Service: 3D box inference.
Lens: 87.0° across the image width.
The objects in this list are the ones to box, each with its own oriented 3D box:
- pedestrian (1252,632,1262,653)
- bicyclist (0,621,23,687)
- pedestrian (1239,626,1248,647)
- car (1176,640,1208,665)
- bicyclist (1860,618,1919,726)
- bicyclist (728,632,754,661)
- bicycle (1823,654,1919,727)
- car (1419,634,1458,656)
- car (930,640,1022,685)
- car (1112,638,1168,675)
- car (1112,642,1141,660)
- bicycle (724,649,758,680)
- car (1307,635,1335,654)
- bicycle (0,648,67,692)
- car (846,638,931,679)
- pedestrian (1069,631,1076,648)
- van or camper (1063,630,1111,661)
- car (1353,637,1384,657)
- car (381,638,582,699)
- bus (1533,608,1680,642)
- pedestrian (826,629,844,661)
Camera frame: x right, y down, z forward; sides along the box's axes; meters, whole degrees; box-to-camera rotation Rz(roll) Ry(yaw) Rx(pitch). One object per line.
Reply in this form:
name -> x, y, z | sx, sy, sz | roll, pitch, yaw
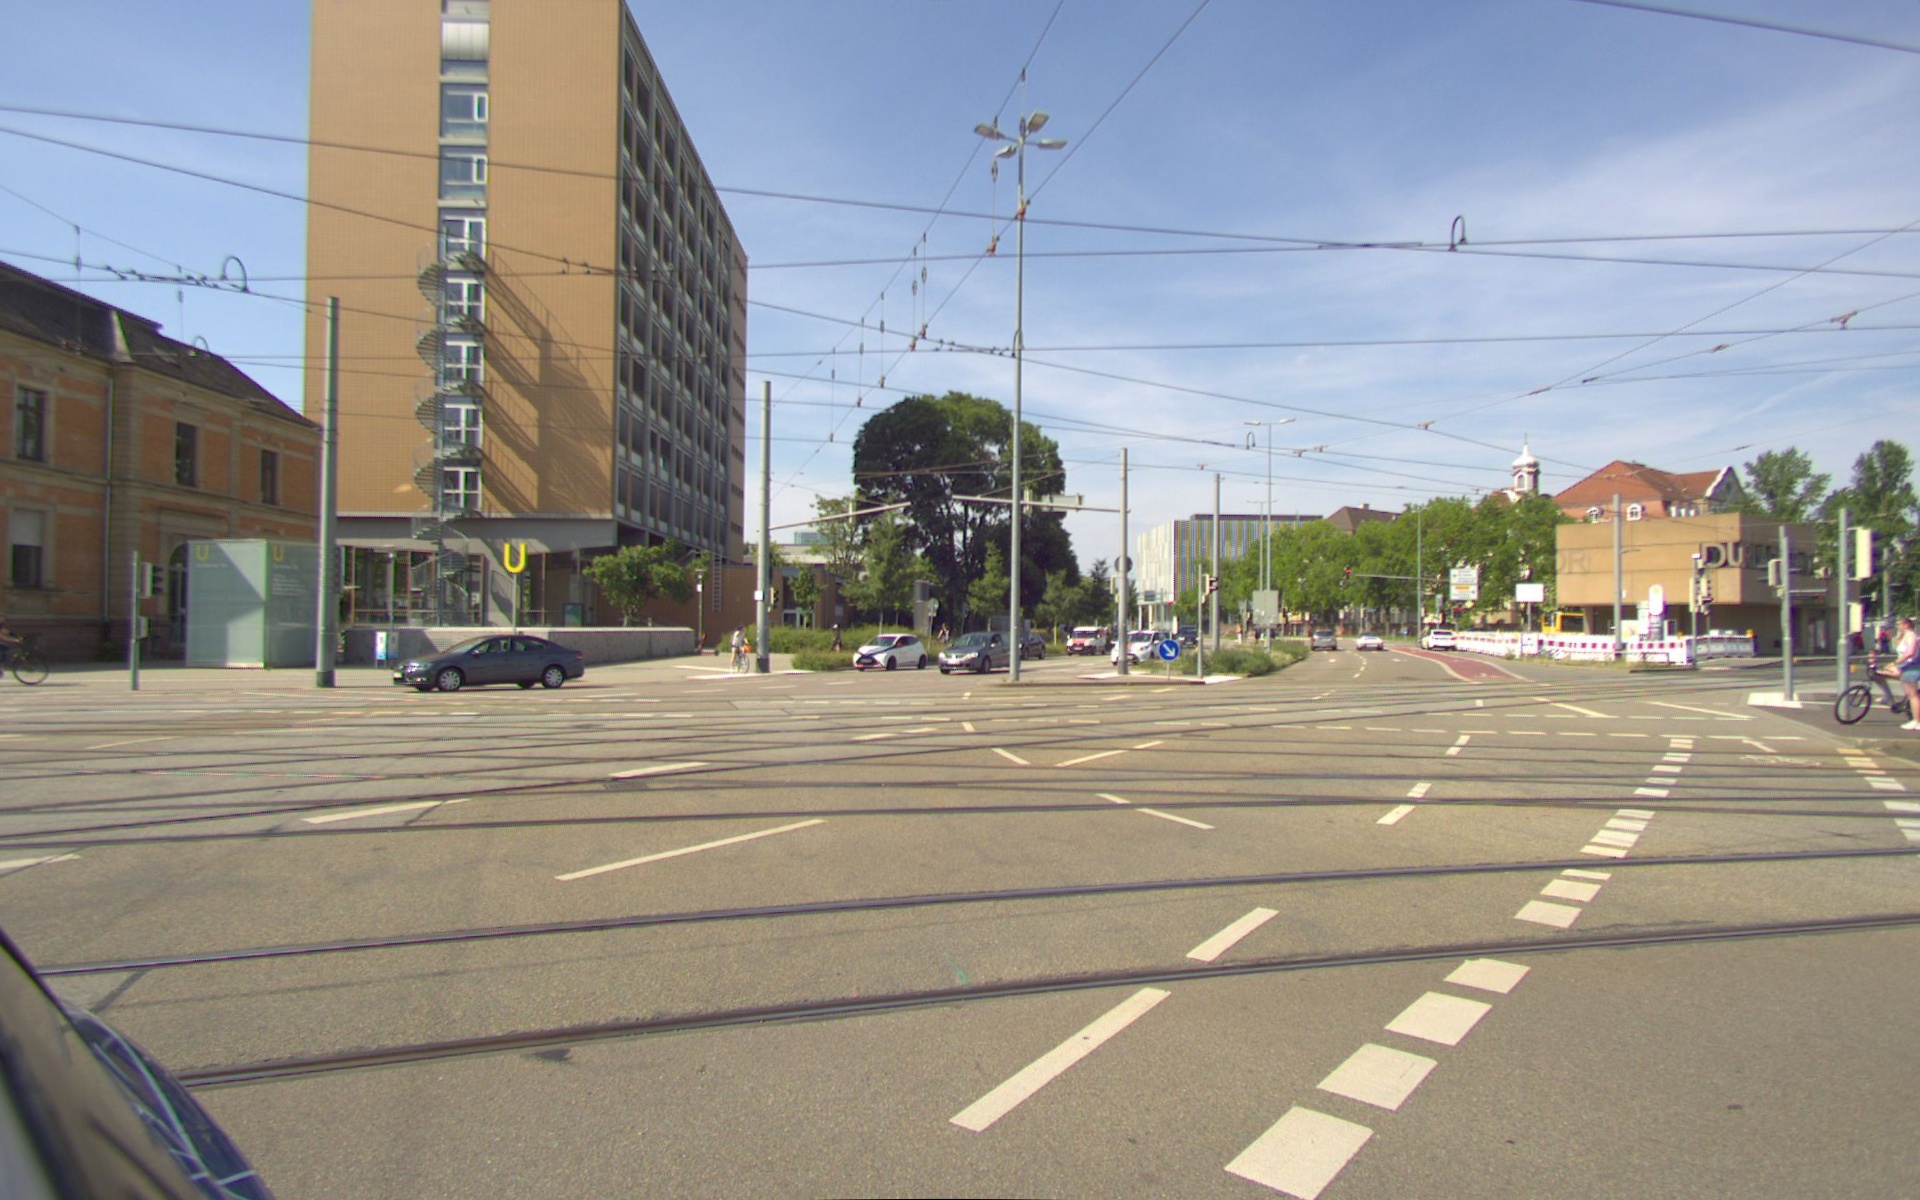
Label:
pedestrian -> 24.174, 3.449, 82.295 | 0.641, 1.686, 0.745 | -1, -2, 27
bicyclist -> -24.253, 1.357, 25.559 | 0.770, 1.636, 0.670 | 2, -1, -39
pedestrian -> 23.007, 2.941, 82.069 | 0.539, 1.686, 0.745 | -1, -2, 28
car -> 17.845, 3.999, 77.711 | 1.950, 1.807, 3.973 | 0, -2, 20
bicyclist -> 15.235, 1.153, 16.348 | 0.770, 1.697, 0.747 | 1, -1, 18
bicyclist -> -8.145, 1.730, 37.621 | 0.704, 1.036, 0.919 | 2, 0, -28
bicycle -> 15.243, 1.465, 16.325 | 1.834, 1.092, 0.747 | 1, -1, 18
car -> 32.878, 3.064, 69.624 | 1.788, 1.431, 3.978 | -3, -2, 17
car -> 0.630, 2.179, 35.817 | 1.643, 1.435, 4.082 | -2, -2, 27
car -> 7.581, 2.330, 42.356 | 1.644, 1.425, 3.836 | 0, -1, 21
car -> 12.238, 3.719, 74.340 | 1.480, 1.304, 3.463 | -1, -2, 20
bicycle -> -8.127, 2.381, 37.556 | 0.704, 1.023, 1.925 | 2, 0, -28
car -> 25.491, 3.124, 71.461 | 1.585, 1.296, 3.978 | -3, -2, 16
bicycle -> -24.236, 1.763, 25.588 | 2.424, 1.077, 0.670 | 2, -3, -39
car -> -2.827, 2.320, 40.672 | 1.675, 1.486, 3.724 | -3, -3, 28
pedestrian -> 9.958, 3.521, 89.394 | 0.636, 1.457, 0.568 | 1, -1, 7
van or camper -> 7.991, 2.826, 63.503 | 1.719, 1.902, 4.883 | -1, -2, 23
car -> 28.079, 3.234, 69.654 | 1.585, 1.296, 3.978 | -3, -2, 16
car -> -12.424, 1.775, 26.514 | 1.635, 1.446, 4.467 | -1, -3, 41
bus -> 58.685, 2.303, 92.006 | 11.963, 3.062, 2.800 | 0, -2, -5
pedestrian -> -6.705, 2.416, 54.305 | 0.590, 1.676, 0.724 | 1, -1, 28
